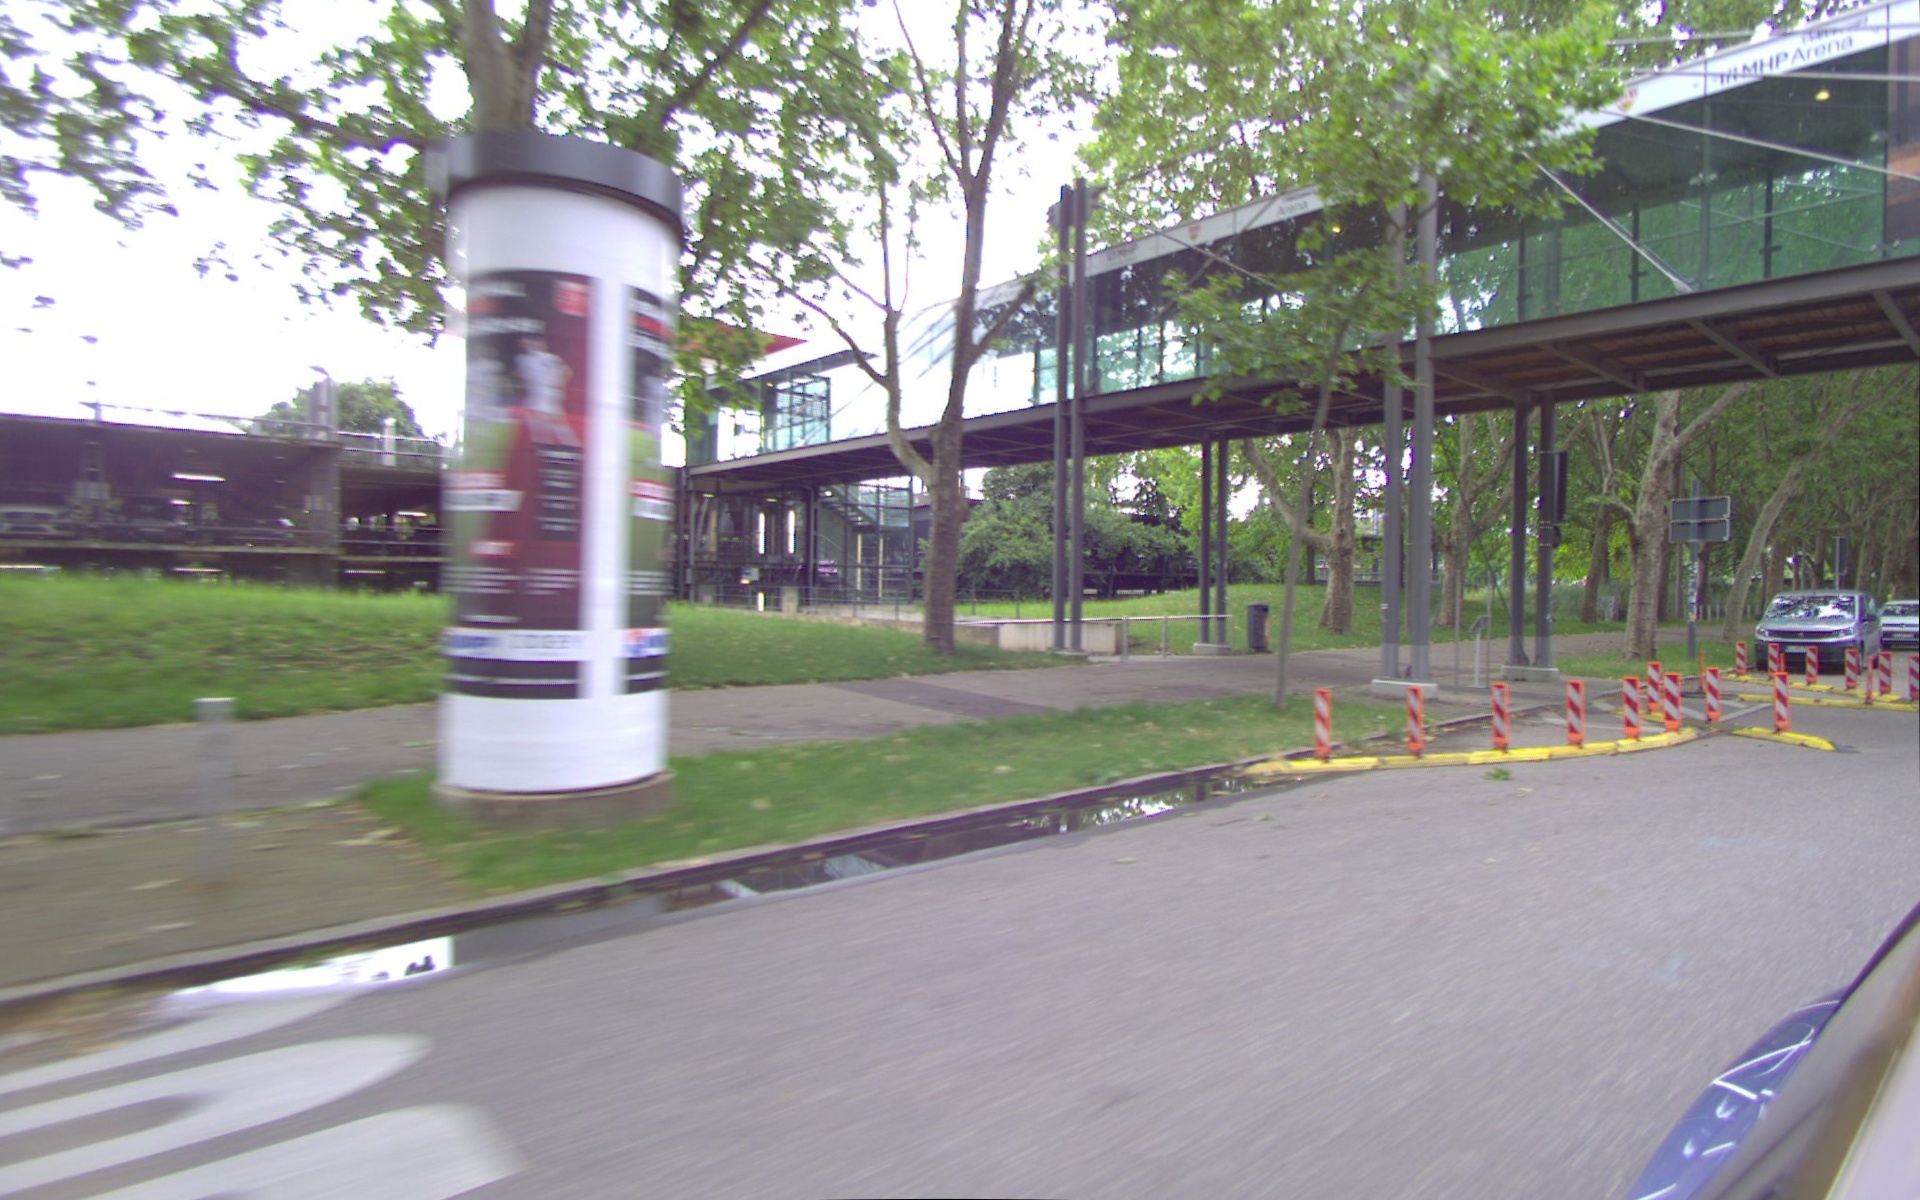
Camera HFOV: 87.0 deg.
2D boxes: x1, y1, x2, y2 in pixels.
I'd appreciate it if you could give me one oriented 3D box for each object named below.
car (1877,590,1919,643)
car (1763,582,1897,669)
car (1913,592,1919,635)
[{"bbox_3d":[31.381,0.503,32.913,4.422,1.590,1.919,-1,2,-43],"label":"car"},{"bbox_3d":[19.437,0.484,22.545,4.422,1.718,1.754,-1,2,-43],"label":"car"},{"bbox_3d":[37.907,0.501,38.643,4.422,1.590,1.919,-1,2,-43],"label":"car"}]
